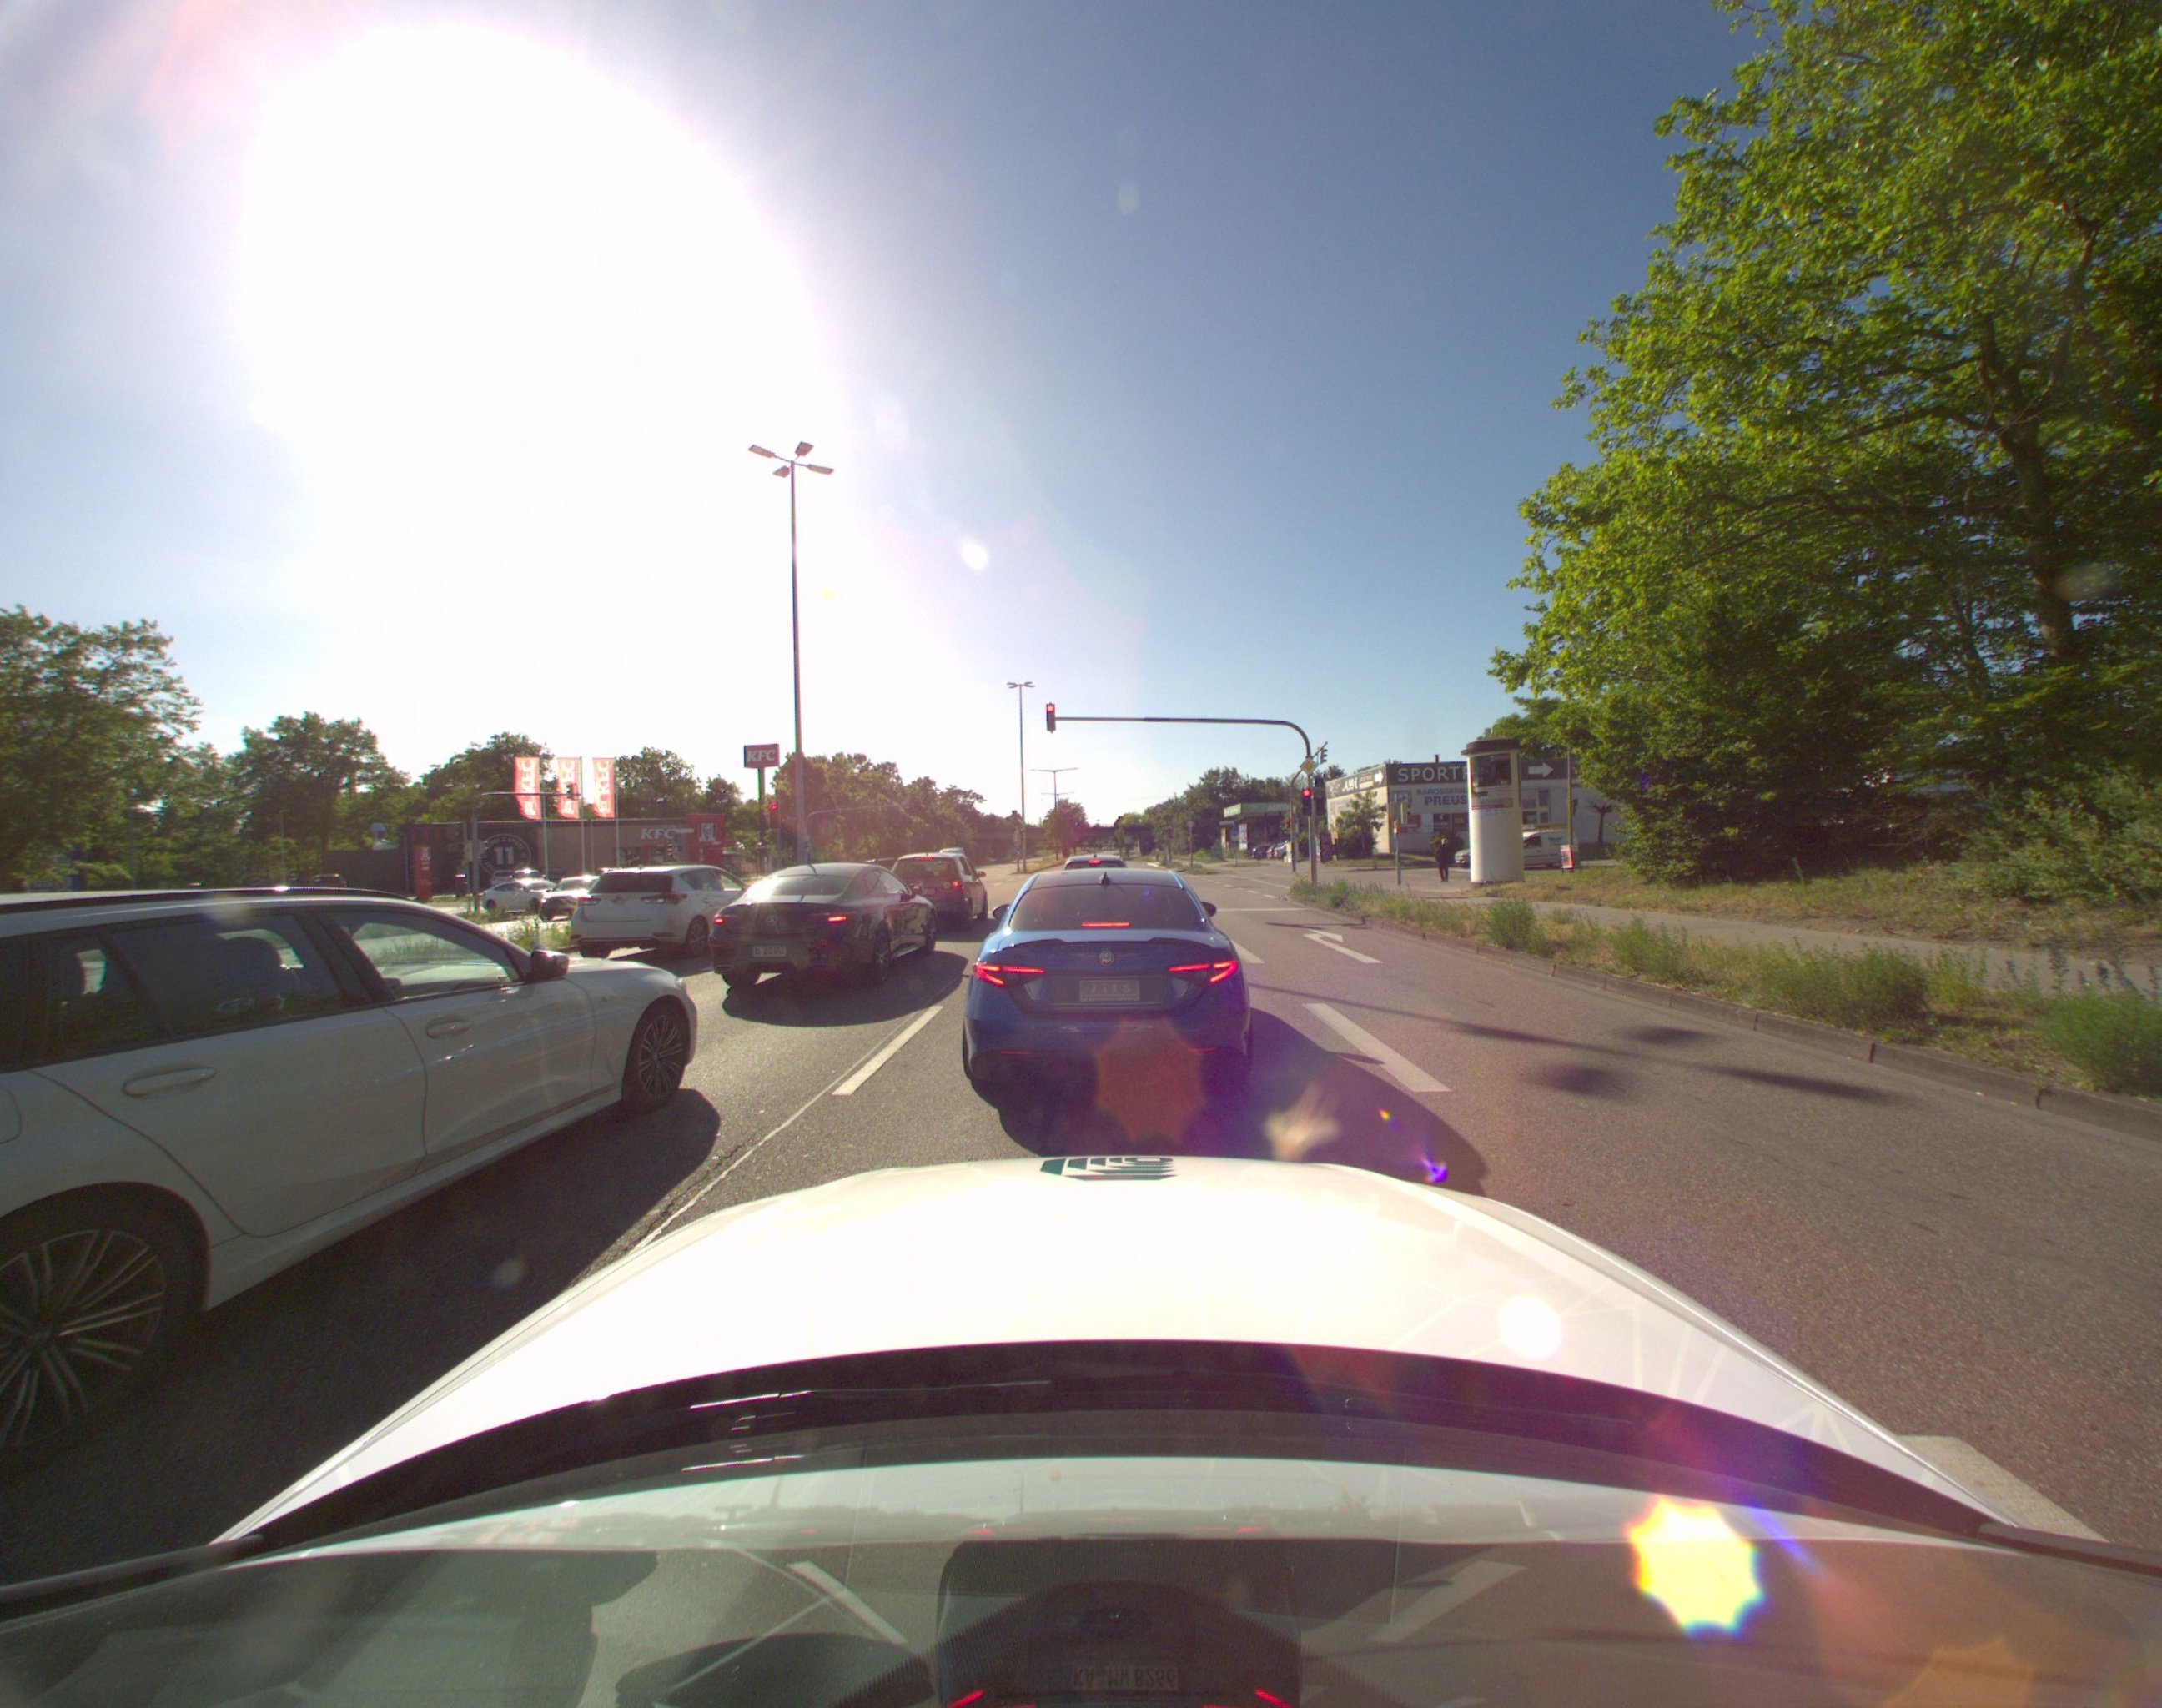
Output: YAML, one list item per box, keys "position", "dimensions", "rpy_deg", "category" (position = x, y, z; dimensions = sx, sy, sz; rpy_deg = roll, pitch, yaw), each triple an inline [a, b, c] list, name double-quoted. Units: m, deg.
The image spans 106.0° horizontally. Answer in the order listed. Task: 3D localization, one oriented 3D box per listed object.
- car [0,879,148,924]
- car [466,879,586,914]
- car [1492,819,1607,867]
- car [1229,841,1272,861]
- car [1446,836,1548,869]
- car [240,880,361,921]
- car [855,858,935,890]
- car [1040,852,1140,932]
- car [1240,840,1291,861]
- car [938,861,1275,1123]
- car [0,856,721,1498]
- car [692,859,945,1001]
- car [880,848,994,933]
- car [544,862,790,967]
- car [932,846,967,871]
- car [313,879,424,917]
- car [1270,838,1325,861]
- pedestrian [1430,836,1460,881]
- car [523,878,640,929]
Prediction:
- position: [-47.176, 2.198, 38.182]
  dimensions: [4.268, 1.845, 1.997]
  rpy_deg: [-2, 0, -5]
  category: "car"
- position: [-25.020, 1.909, 36.728]
  dimensions: [4.683, 1.429, 1.872]
  rpy_deg: [-1, 0, 17]
  category: "car"
- position: [22.631, -0.527, 39.457]
  dimensions: [4.393, 2.145, 1.999]
  rpy_deg: [-1, 0, -2]
  category: "car"
- position: [15.385, -0.259, 73.961]
  dimensions: [3.489, 1.706, 1.687]
  rpy_deg: [-2, 0, -14]
  category: "car"
- position: [21.953, -0.086, 43.056]
  dimensions: [4.393, 1.553, 1.999]
  rpy_deg: [-1, 0, -2]
  category: "car"
- position: [-36.828, 2.182, 38.491]
  dimensions: [3.972, 1.728, 1.759]
  rpy_deg: [-1, 0, 1]
  category: "car"
- position: [-10.507, 1.092, 46.030]
  dimensions: [4.058, 1.595, 1.809]
  rpy_deg: [-2, 0, -26]
  category: "car"
- position: [0.231, 0.703, 17.190]
  dimensions: [1.859, 1.450, 3.933]
  rpy_deg: [-1, 0, 2]
  category: "car"
- position: [16.042, -0.295, 70.752]
  dimensions: [3.997, 1.706, 1.685]
  rpy_deg: [-1, 0, -18]
  category: "car"
- position: [0.201, 0.789, 6.516]
  dimensions: [1.859, 1.385, 3.933]
  rpy_deg: [-1, 0, 2]
  category: "car"
- position: [-3.431, 0.801, 3.354]
  dimensions: [1.762, 1.509, 4.463]
  rpy_deg: [-2, 0, 2]
  category: "car"
- position: [-3.144, 0.815, 10.826]
  dimensions: [1.762, 1.414, 4.463]
  rpy_deg: [-2, 0, 2]
  category: "car"
- position: [-3.006, 0.701, 17.764]
  dimensions: [1.642, 1.598, 3.933]
  rpy_deg: [-2, 0, 2]
  category: "car"
- position: [-6.815, 0.904, 14.053]
  dimensions: [1.850, 1.429, 4.405]
  rpy_deg: [-2, 0, 2]
  category: "car"
- position: [-13.492, 0.444, 83.903]
  dimensions: [2.422, 2.427, 5.833]
  rpy_deg: [-1, 0, 2]
  category: "car"
- position: [-37.043, 2.282, 42.399]
  dimensions: [4.056, 1.794, 2.002]
  rpy_deg: [-1, 0, 3]
  category: "car"
- position: [17.512, -0.365, 65.858]
  dimensions: [3.993, 1.706, 1.687]
  rpy_deg: [-2, 0, -15]
  category: "car"
- position: [14.228, 0.178, 31.843]
  dimensions: [0.818, 1.721, 0.856]
  rpy_deg: [-2, 0, 9]
  category: "pedestrian"
- position: [-17.168, 1.649, 28.225]
  dimensions: [1.817, 1.429, 4.041]
  rpy_deg: [-3, 0, -6]
  category: "car"
